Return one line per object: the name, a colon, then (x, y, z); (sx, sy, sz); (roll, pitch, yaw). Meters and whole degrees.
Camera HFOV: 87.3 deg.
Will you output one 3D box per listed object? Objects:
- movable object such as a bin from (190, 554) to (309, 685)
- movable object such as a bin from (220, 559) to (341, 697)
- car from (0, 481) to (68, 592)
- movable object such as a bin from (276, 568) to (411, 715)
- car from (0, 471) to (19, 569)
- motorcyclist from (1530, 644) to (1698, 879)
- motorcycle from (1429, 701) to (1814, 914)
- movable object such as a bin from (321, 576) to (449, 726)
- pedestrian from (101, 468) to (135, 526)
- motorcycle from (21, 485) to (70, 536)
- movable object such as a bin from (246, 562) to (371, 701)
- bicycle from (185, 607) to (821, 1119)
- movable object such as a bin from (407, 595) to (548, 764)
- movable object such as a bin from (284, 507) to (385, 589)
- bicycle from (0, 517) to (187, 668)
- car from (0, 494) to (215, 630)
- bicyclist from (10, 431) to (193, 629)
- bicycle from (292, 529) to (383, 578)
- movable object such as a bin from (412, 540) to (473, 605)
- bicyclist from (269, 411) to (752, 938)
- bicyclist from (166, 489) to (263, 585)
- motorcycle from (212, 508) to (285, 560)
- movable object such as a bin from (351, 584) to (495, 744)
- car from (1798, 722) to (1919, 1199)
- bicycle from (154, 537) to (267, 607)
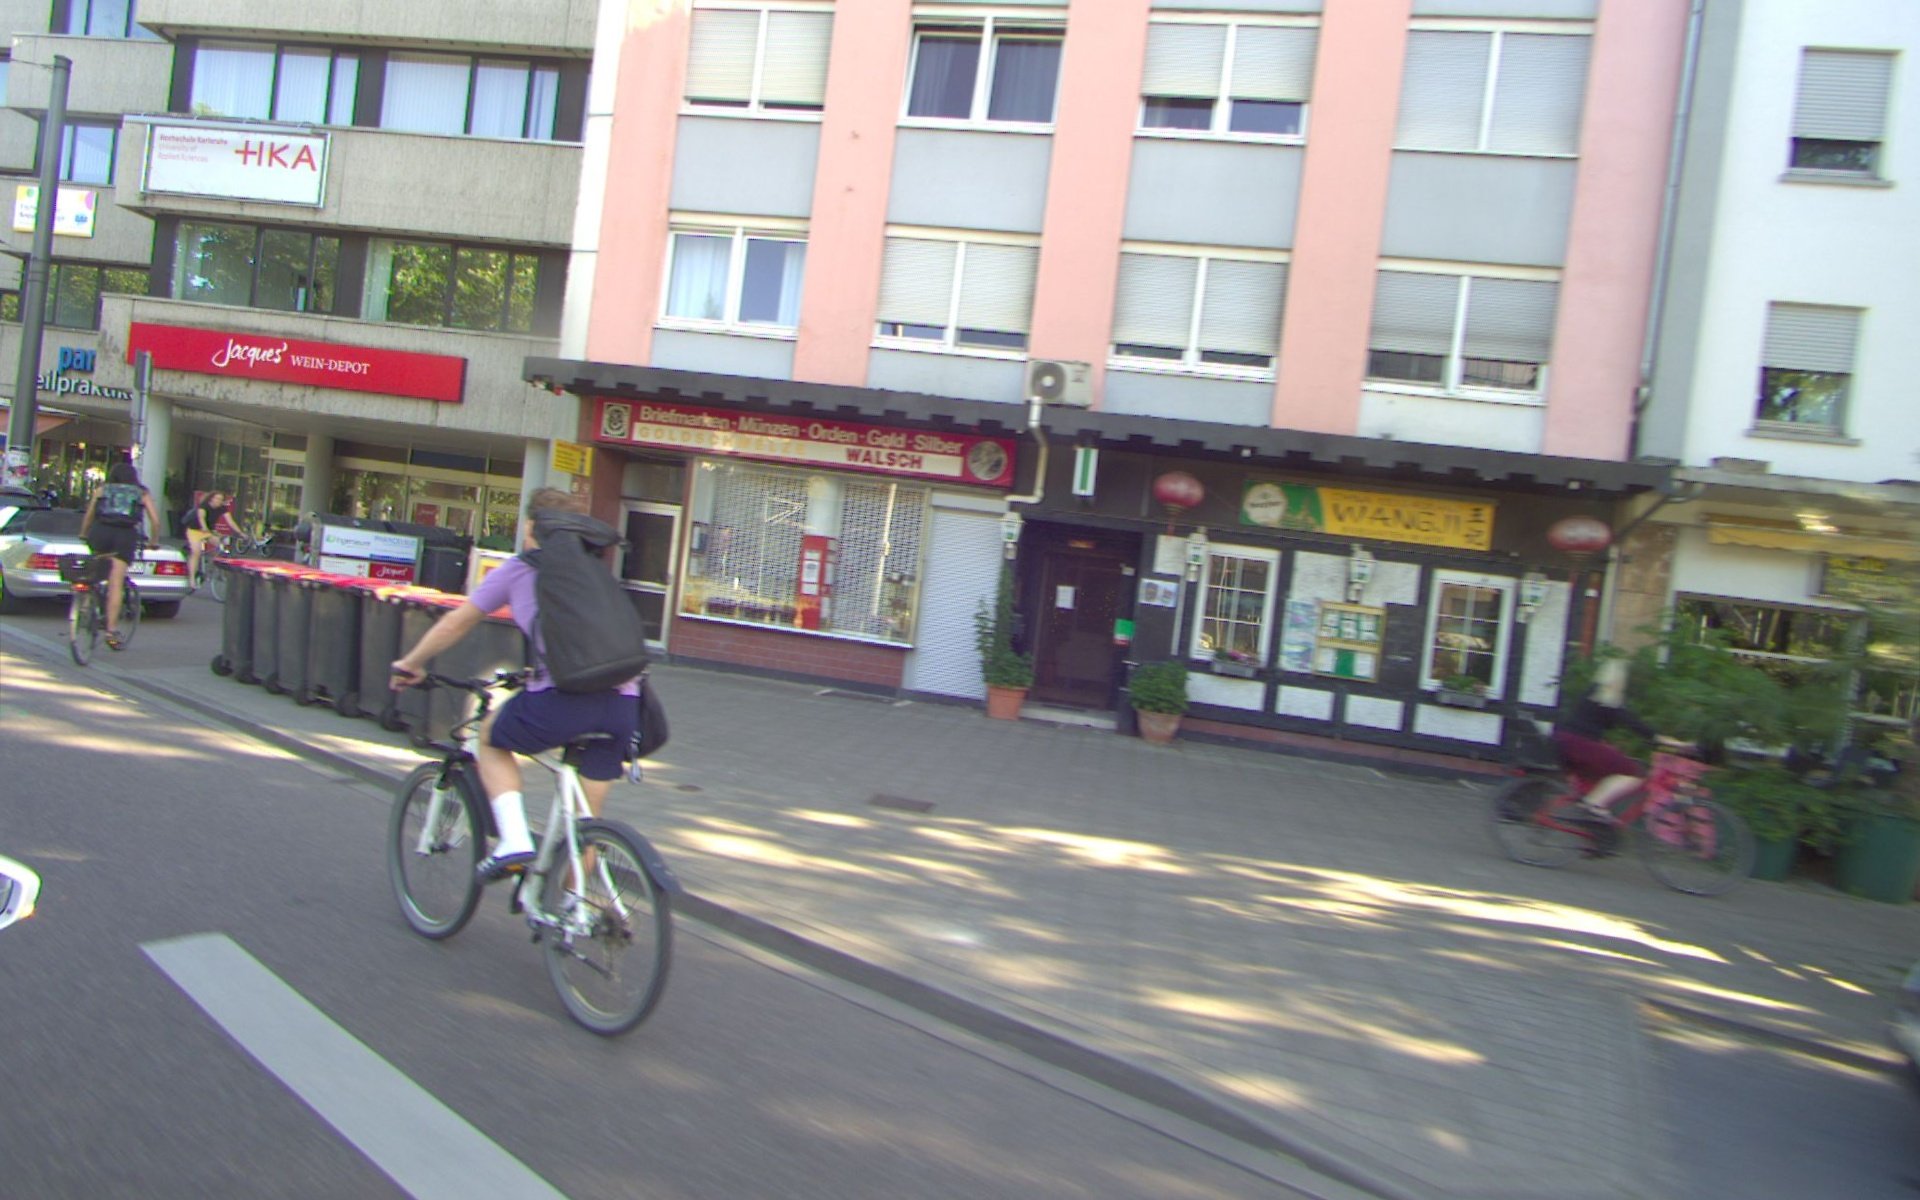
movable object such as a bin: (-6.436, 0.182, 9.124); (0.594, 1.096, 0.593); (6, -1, 31)
movable object such as a bin: (-5.946, 0.253, 8.815); (0.517, 1.118, 0.611); (6, -1, 30)
car: (-15.769, -1.140, 15.815); (4.135, 1.536, 1.672); (6, -2, 36)
movable object such as a bin: (-4.952, 0.341, 8.094); (0.603, 1.081, 0.607); (6, -1, 30)
car: (-19.037, -1.657, 18.303); (3.805, 1.708, 1.854); (6, -2, 34)
motorcyclist: (4.931, 1.182, 7.659); (0.792, 1.569, 0.900); (6, -1, 24)
motorcycle: (4.892, 1.494, 7.673); (2.256, 1.139, 0.778); (6, -1, 24)
movable object such as a bin: (-4.455, 0.402, 7.804); (0.487, 1.081, 0.592); (6, -1, 30)
pedestrian: (-28.552, -3.486, 34.130); (0.701, 1.837, 0.709); (8, -1, -41)
motorcycle: (-23.512, -2.296, 25.856); (2.021, 1.170, 0.761); (5, 2, 44)
movable object such as a bin: (-5.489, 0.271, 8.491); (0.536, 1.081, 0.606); (6, -1, 30)
bicycle: (-1.690, 0.735, 3.593); (2.192, 1.149, 0.887); (6, -2, 31)
movable object such as a bin: (-3.417, 0.558, 7.140); (0.561, 1.095, 0.574); (6, -1, 30)
movable object such as a bin: (-12.508, -1.028, 20.122); (1.106, 1.414, 1.335); (6, -2, 41)
bicycle: (-8.158, -0.068, 9.513); (0.812, 1.199, 1.953); (7, -2, -25)
car: (-11.900, -0.578, 13.262); (4.526, 1.359, 1.853); (6, -2, 34)
bicyclist: (-8.069, -0.620, 9.522); (0.930, 1.652, 0.930); (7, -1, -24)
bicycle: (-16.255, -1.208, 26.330); (1.833, 0.992, 0.678); (9, -1, -22)
movable object such as a bin: (-10.187, -0.542, 19.803); (0.712, 1.147, 0.743); (6, -1, 40)
bicyclist: (-1.538, 0.216, 3.549); (0.972, 1.501, 1.040); (6, -1, 31)
bicyclist: (-11.774, -0.991, 15.897); (0.977, 1.342, 0.760); (6, -1, 28)
motorcycle: (-19.778, -1.834, 27.958); (2.063, 1.182, 0.513); (8, 0, 22)
movable object such as a bin: (-3.994, 0.478, 7.493); (0.600, 1.081, 0.620); (6, -1, 30)
car: (5.085, 1.432, 2.296); (4.507, 1.456, 1.767); (8, 1, 32)
bicycle: (-11.882, -0.453, 15.936); (2.034, 0.902, 0.535); (6, -1, 28)
